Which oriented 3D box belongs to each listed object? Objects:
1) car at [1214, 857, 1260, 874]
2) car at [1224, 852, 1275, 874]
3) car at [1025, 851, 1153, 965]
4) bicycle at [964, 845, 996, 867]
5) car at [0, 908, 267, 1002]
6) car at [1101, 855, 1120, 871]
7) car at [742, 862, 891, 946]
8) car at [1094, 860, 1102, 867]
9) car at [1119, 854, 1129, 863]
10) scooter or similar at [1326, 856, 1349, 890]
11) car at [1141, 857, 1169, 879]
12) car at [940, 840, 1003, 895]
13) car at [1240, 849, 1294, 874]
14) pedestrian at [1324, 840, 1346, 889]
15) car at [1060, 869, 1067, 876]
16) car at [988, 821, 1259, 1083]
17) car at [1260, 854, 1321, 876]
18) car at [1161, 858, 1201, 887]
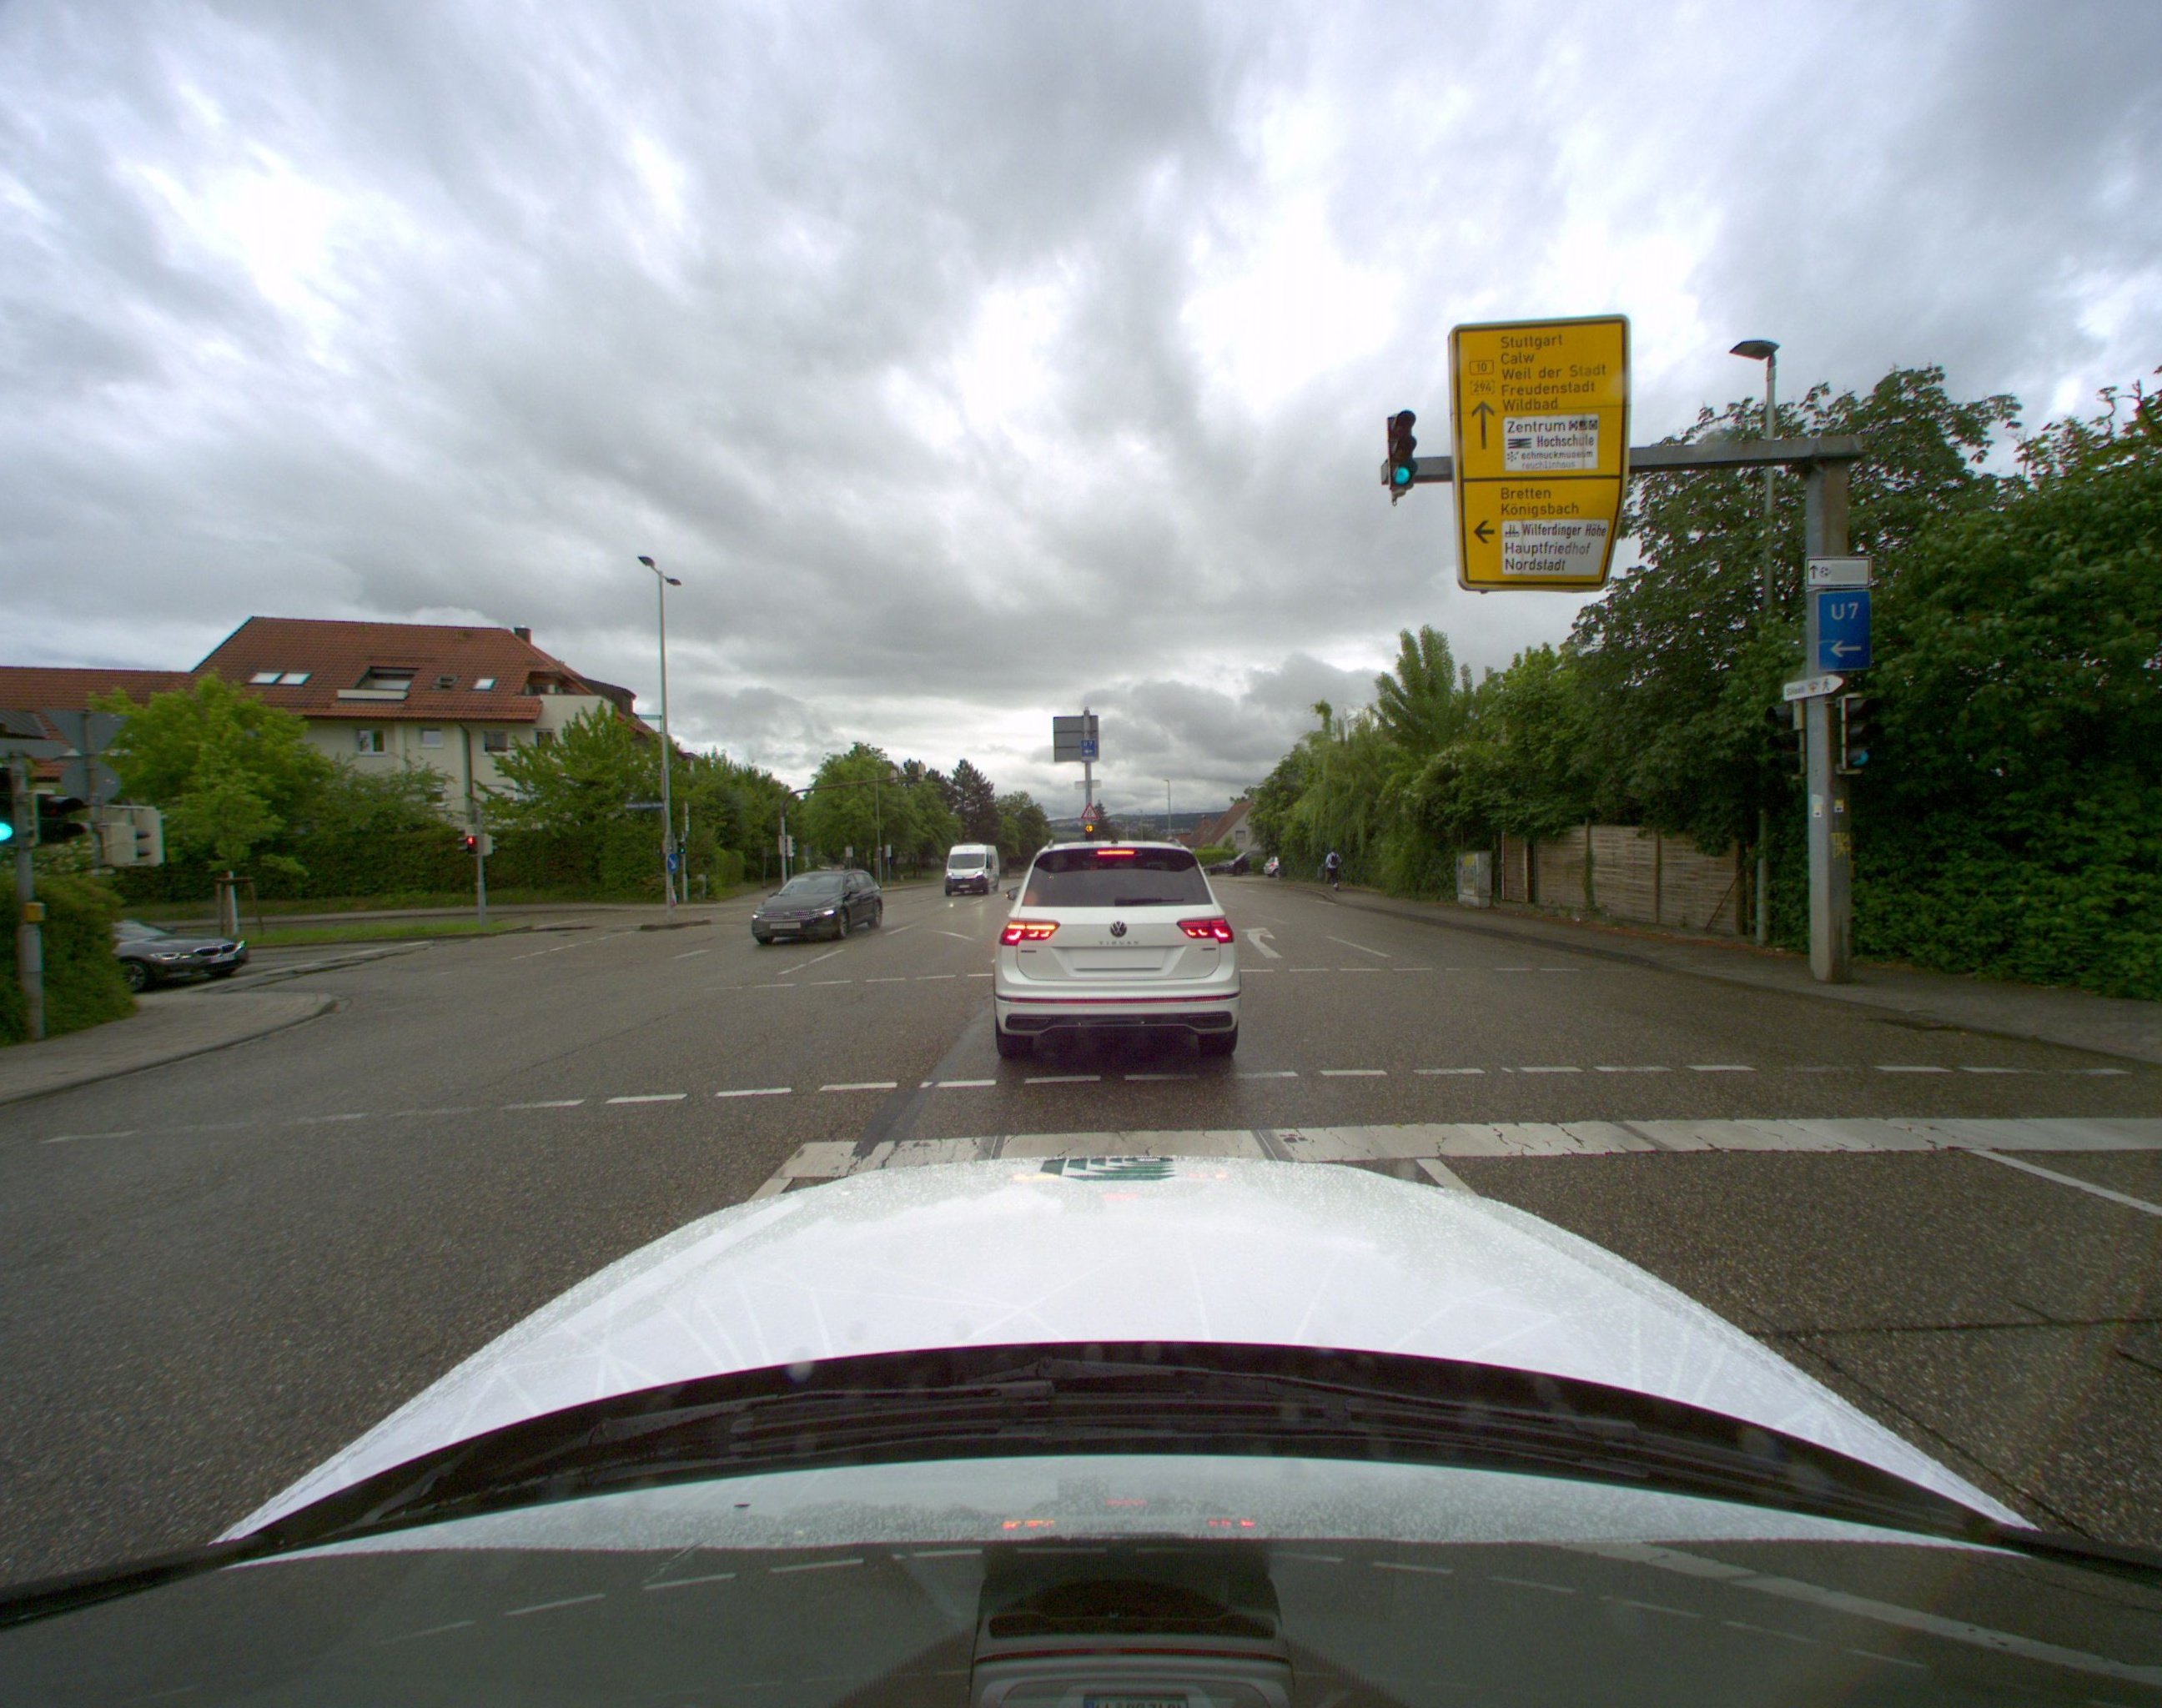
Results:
[{"bbox_3d":[13.199,1.001,69.031,3.675,1.370,1.518,-1,-2,0],"label":"car"},{"bbox_3d":[13.225,0.672,64.108,3.618,1.626,1.790,-1,0,-3],"label":"car"},{"bbox_3d":[0.191,0.764,13.417,1.791,1.589,3.928,-1,0,2],"label":"car"},{"bbox_3d":[-5.539,0.090,44.596,1.631,1.126,0.468,-3,0,0],"label":"bicycle"},{"bbox_3d":[-19.859,2.047,16.597,4.413,1.392,1.774,-4,2,-5],"label":"car"},{"bbox_3d":[2.944,0.853,82.625,1.730,1.575,4.067,0,0,0],"label":"car"},{"bbox_3d":[-5.821,1.025,18.544,1.770,1.502,4.472,-4,0,1],"label":"car"},{"bbox_3d":[4.324,2.391,201.175,1.843,1.574,4.002,-2,0,2],"label":"car"},{"bbox_3d":[7.684,0.843,145.807,1.843,1.574,4.002,-2,0,2],"label":"car"},{"bbox_3d":[10.576,0.788,33.645,0.460,1.361,1.384,-1,0,-2],"label":"scooter or similar"},{"bbox_3d":[5.088,0.931,56.471,1.659,1.427,4.305,0,0,1],"label":"car"},{"bbox_3d":[-5.479,0.633,41.477,2.289,2.528,5.774,-2,0,1],"label":"car"},{"bbox_3d":[14.065,0.536,61.714,3.618,1.746,1.707,-2,1,-2],"label":"car"},{"bbox_3d":[10.580,0.444,33.970,0.654,2.002,0.717,-1,-1,-2],"label":"pedestrian"},{"bbox_3d":[-4.930,5.221,230.391,1.986,1.728,4.001,0,-1,2],"label":"car"},{"bbox_3d":[0.317,0.647,7.472,1.756,1.696,4.273,1,0,1],"label":"car"},{"bbox_3d":[14.491,0.766,56.322,3.709,1.395,1.725,-2,-2,-6],"label":"car"},{"bbox_3d":[5.175,0.931,42.463,1.620,1.403,3.689,0,0,0],"label":"car"}]
